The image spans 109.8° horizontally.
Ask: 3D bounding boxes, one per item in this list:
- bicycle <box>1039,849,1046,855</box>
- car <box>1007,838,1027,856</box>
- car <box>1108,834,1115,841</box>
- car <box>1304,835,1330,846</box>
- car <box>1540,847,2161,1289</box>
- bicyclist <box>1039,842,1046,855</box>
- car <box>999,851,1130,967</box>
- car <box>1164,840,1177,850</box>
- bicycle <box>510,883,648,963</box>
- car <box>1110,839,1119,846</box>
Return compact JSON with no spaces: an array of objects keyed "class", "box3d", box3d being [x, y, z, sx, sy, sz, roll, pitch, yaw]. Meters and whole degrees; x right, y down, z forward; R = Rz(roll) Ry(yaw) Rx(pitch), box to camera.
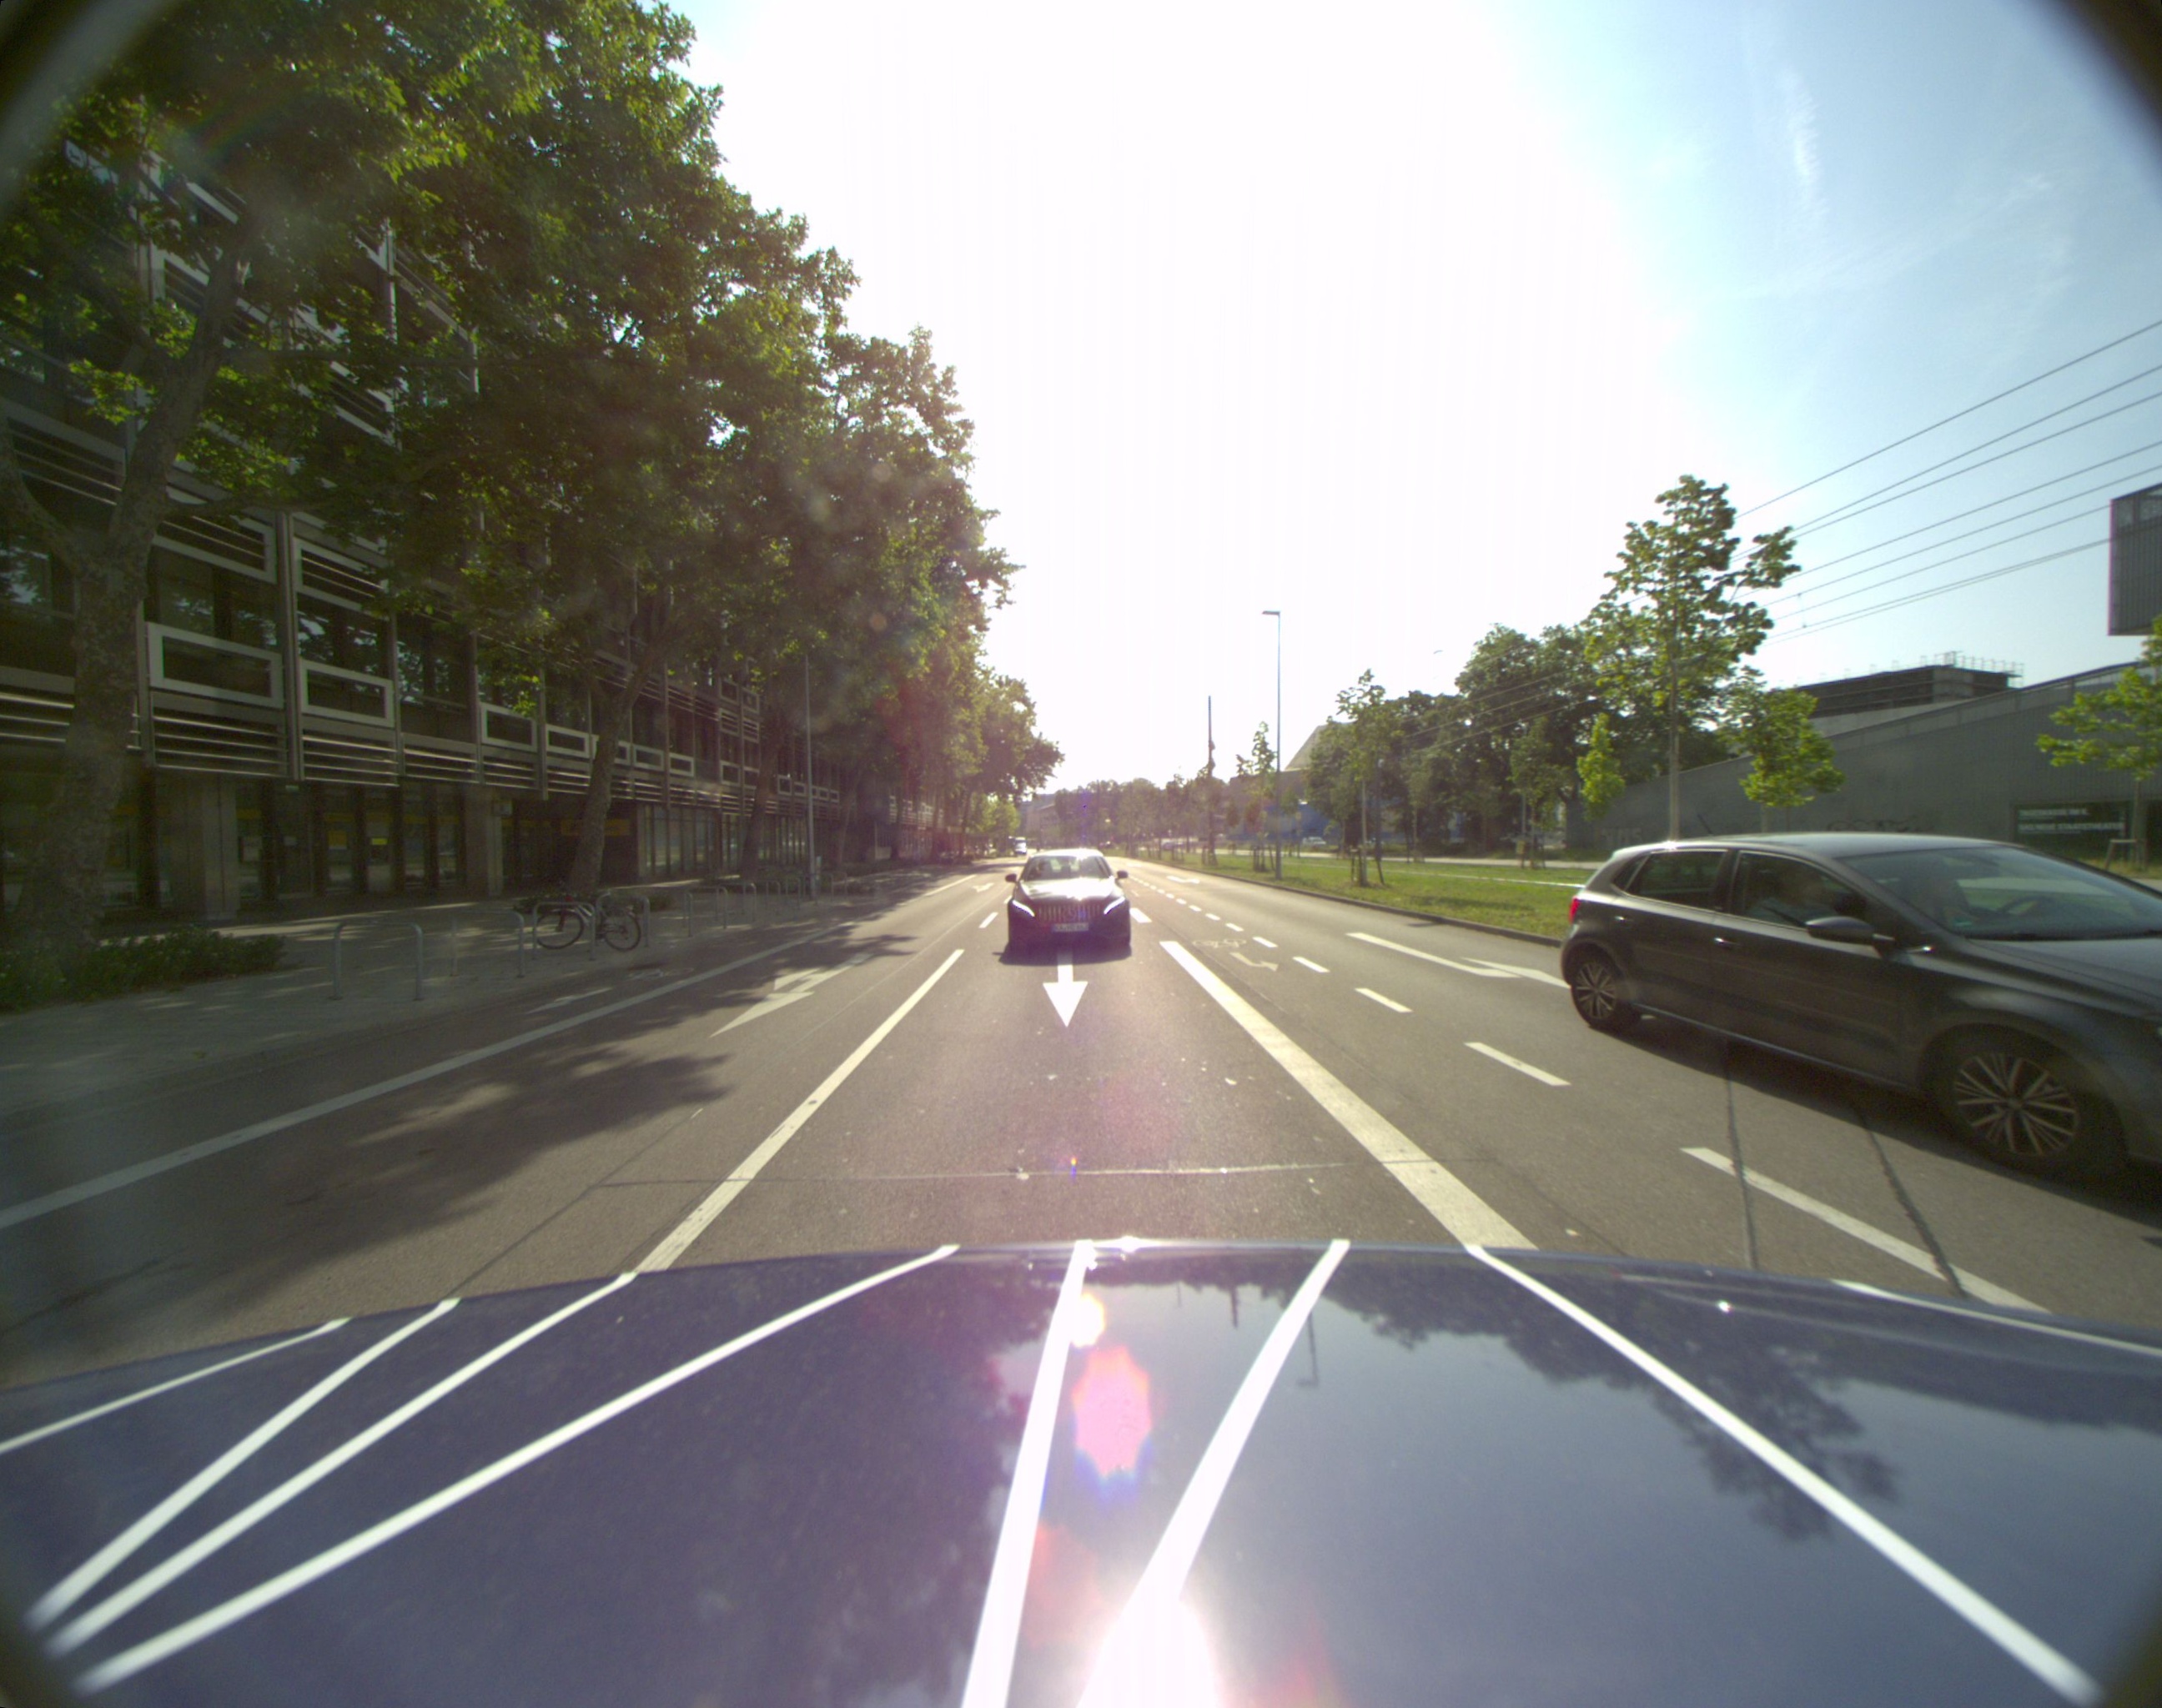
[{"class":"bicycle","box3d":[-4.685,-0.289,93.005,0.630,0.702,1.807,-1,1,-11]},{"class":"car","box3d":[-7.590,-0.899,90.652,1.999,2.002,3.998,-3,2,-1]},{"class":"car","box3d":[8.399,-4.522,209.692,1.757,1.968,3.770,-1,1,-1]},{"class":"car","box3d":[37.042,-2.146,119.532,2.019,1.758,4.818,-1,1,-9]},{"class":"car","box3d":[4.567,0.735,4.154,1.708,1.424,3.868,-3,1,-1]},{"class":"bicyclist","box3d":[-4.715,-0.689,93.117,0.612,1.505,0.813,-1,2,-11]},{"class":"car","box3d":[-0.184,0.733,12.687,1.716,1.429,5.056,-1,1,1]},{"class":"car","box3d":[14.857,-1.520,126.323,1.757,1.609,3.770,-1,1,-1]},{"class":"bicycle","box3d":[-7.869,1.074,11.937,1.831,1.181,0.537,0,2,4]},{"class":"car","box3d":[8.019,-2.704,180.727,1.757,1.609,4.333,-1,1,-1]}]
